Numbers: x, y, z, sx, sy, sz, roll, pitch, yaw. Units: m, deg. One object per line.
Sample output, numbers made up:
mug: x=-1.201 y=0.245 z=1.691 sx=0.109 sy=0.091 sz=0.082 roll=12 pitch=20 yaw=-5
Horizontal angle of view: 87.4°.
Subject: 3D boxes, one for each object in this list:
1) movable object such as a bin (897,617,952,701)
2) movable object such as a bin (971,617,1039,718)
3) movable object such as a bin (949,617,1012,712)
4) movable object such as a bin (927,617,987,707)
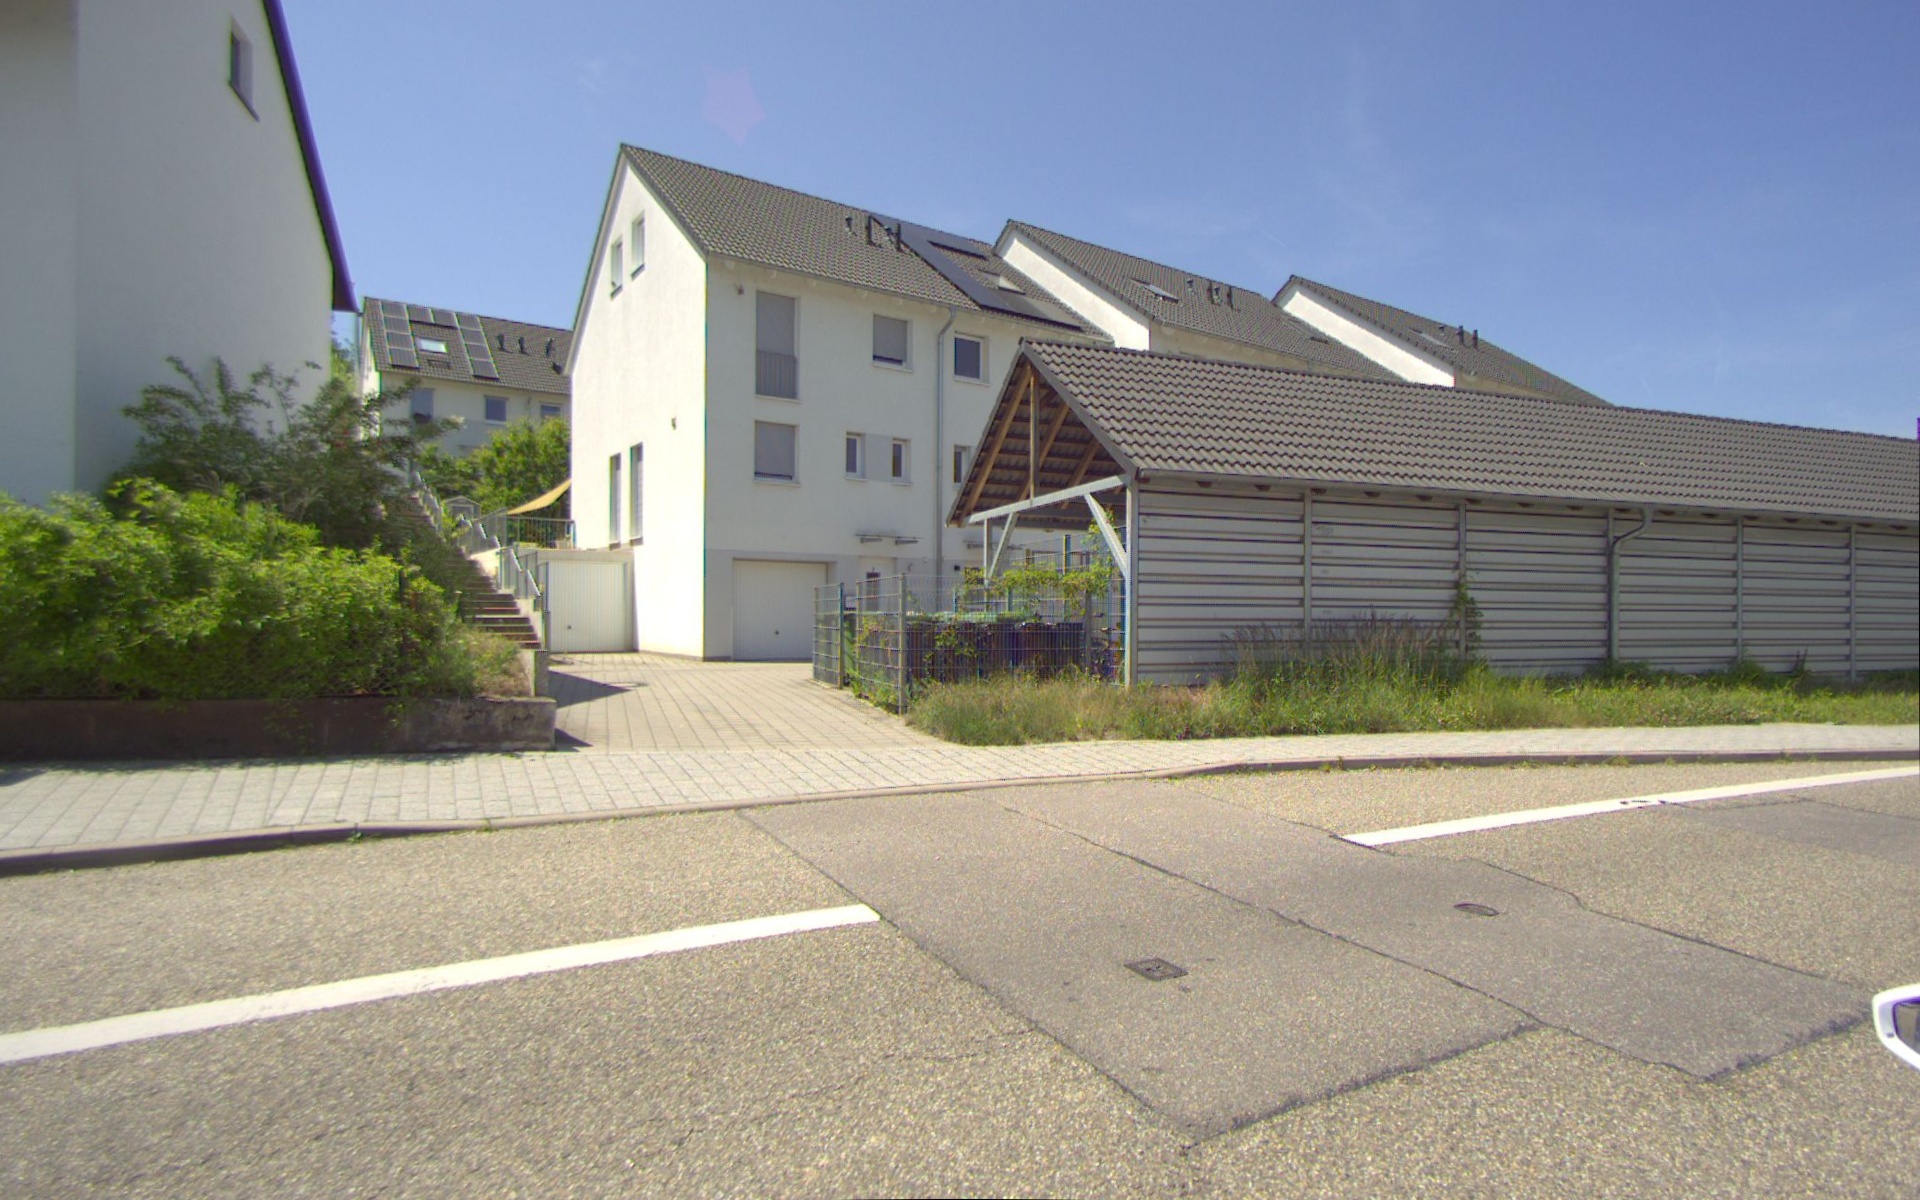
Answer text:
movable object such as a bin: x=-0.566 y=0.924 z=15.929 sx=0.684 sy=1.295 sz=0.638 roll=1 pitch=0 yaw=-22
movable object such as a bin: x=0.597 y=0.893 z=13.468 sx=0.684 sy=1.295 sz=0.638 roll=1 pitch=0 yaw=-22
movable object such as a bin: x=0.285 y=0.905 z=14.252 sx=0.684 sy=1.295 sz=0.638 roll=1 pitch=0 yaw=-22
movable object such as a bin: x=-0.055 y=0.914 z=14.982 sx=0.684 sy=1.295 sz=0.638 roll=1 pitch=0 yaw=-22
